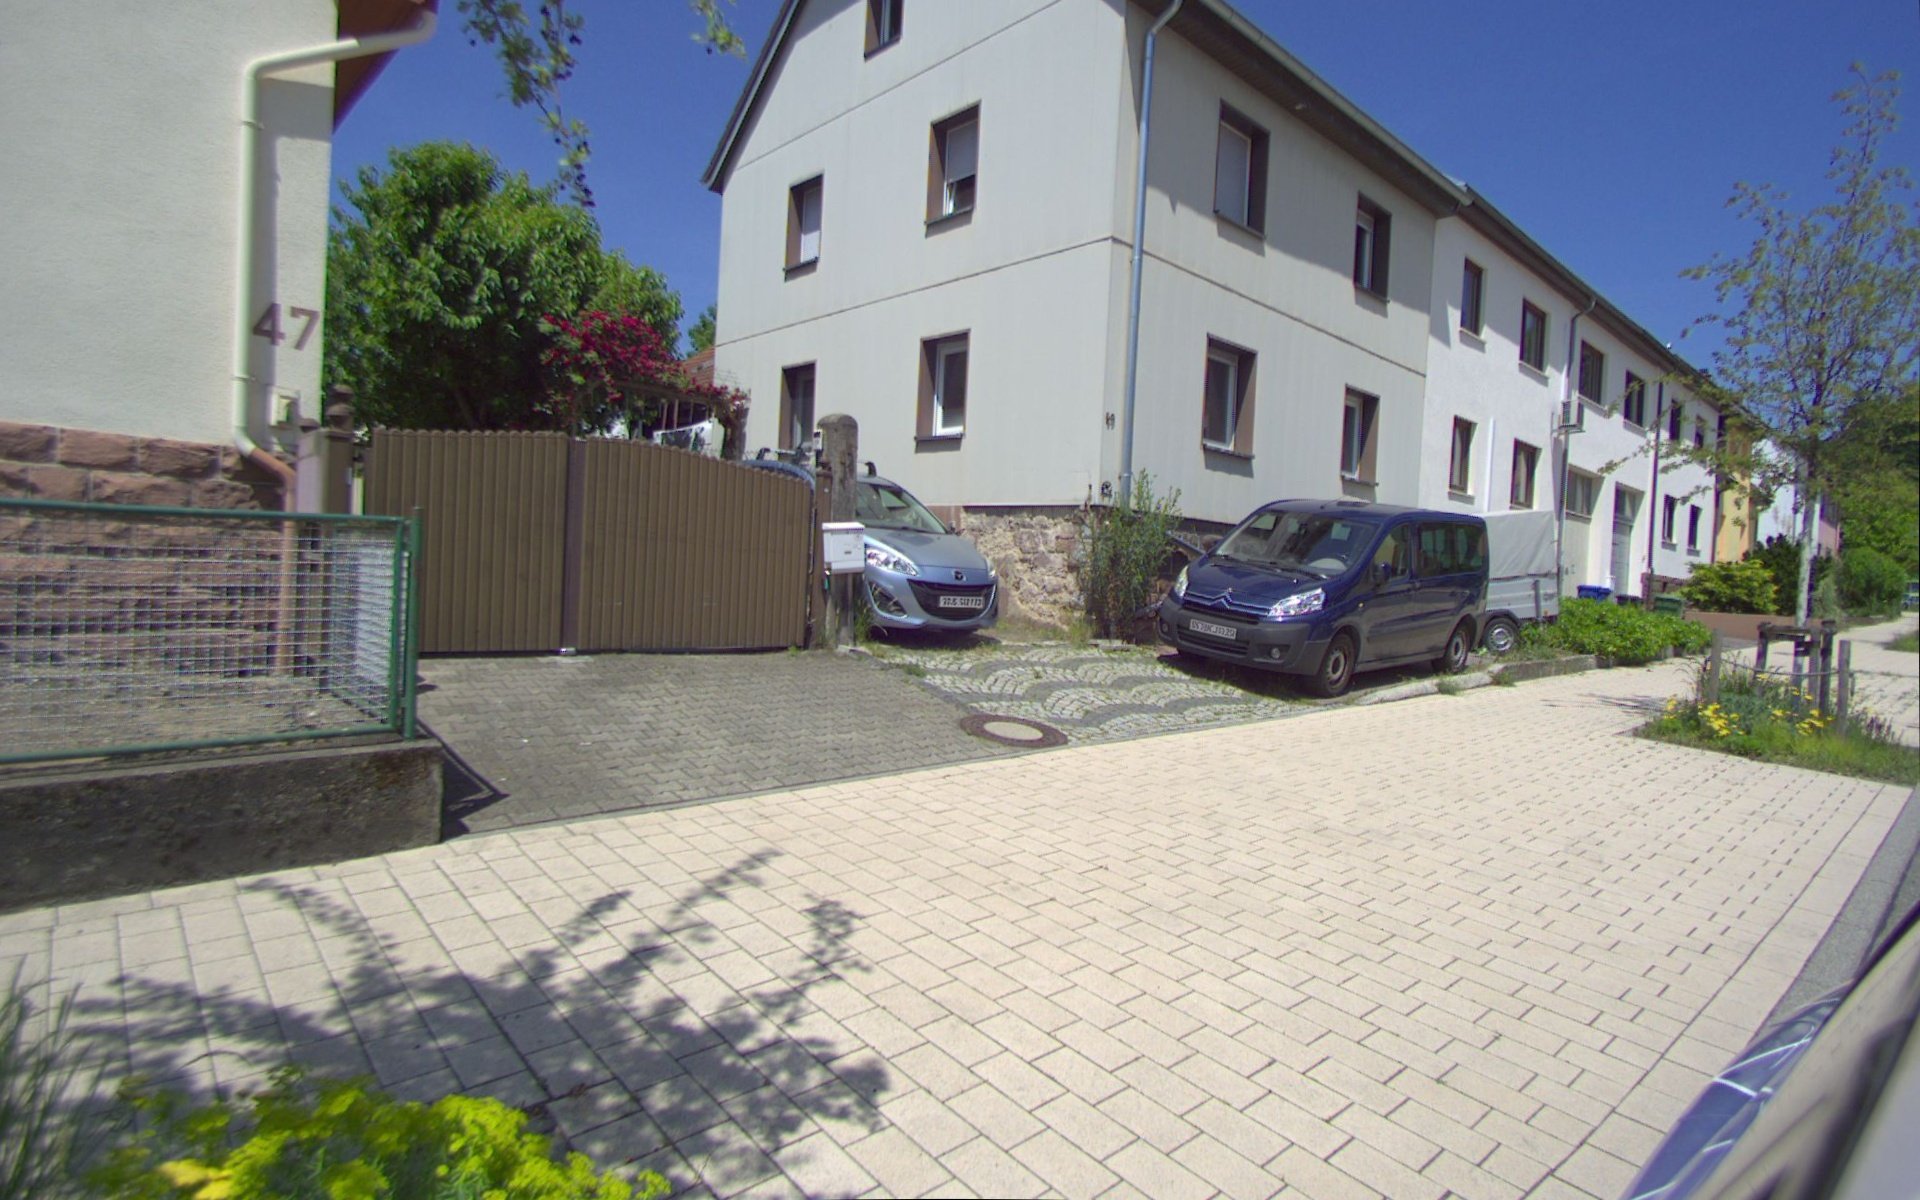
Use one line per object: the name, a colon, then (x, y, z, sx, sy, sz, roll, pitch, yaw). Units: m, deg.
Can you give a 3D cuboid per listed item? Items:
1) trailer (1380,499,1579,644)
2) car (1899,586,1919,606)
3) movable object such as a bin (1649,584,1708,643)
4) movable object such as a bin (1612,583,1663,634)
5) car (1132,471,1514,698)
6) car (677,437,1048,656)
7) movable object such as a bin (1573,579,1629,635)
trailer: (7.639, -0.412, 15.006, 2.230, 2.039, 1.324, 0, 1, 1)
car: (70.457, -0.275, 74.495, 1.669, 1.393, 3.943, 4, 3, 39)
movable object such as a bin: (14.741, 0.259, 20.767, 0.797, 1.128, 0.687, 0, 5, -37)
movable object such as a bin: (14.195, 0.164, 21.197, 0.788, 0.997, 0.560, 0, 6, -36)
car: (4.186, -0.238, 11.246, 4.691, 1.994, 1.857, -1, 6, -42)
car: (-1.212, -0.693, 10.729, 1.858, 1.785, 4.000, 0, 8, -41)
movable object such as a bin: (13.769, 0.133, 21.740, 0.846, 1.119, 0.688, 0, 5, -36)
